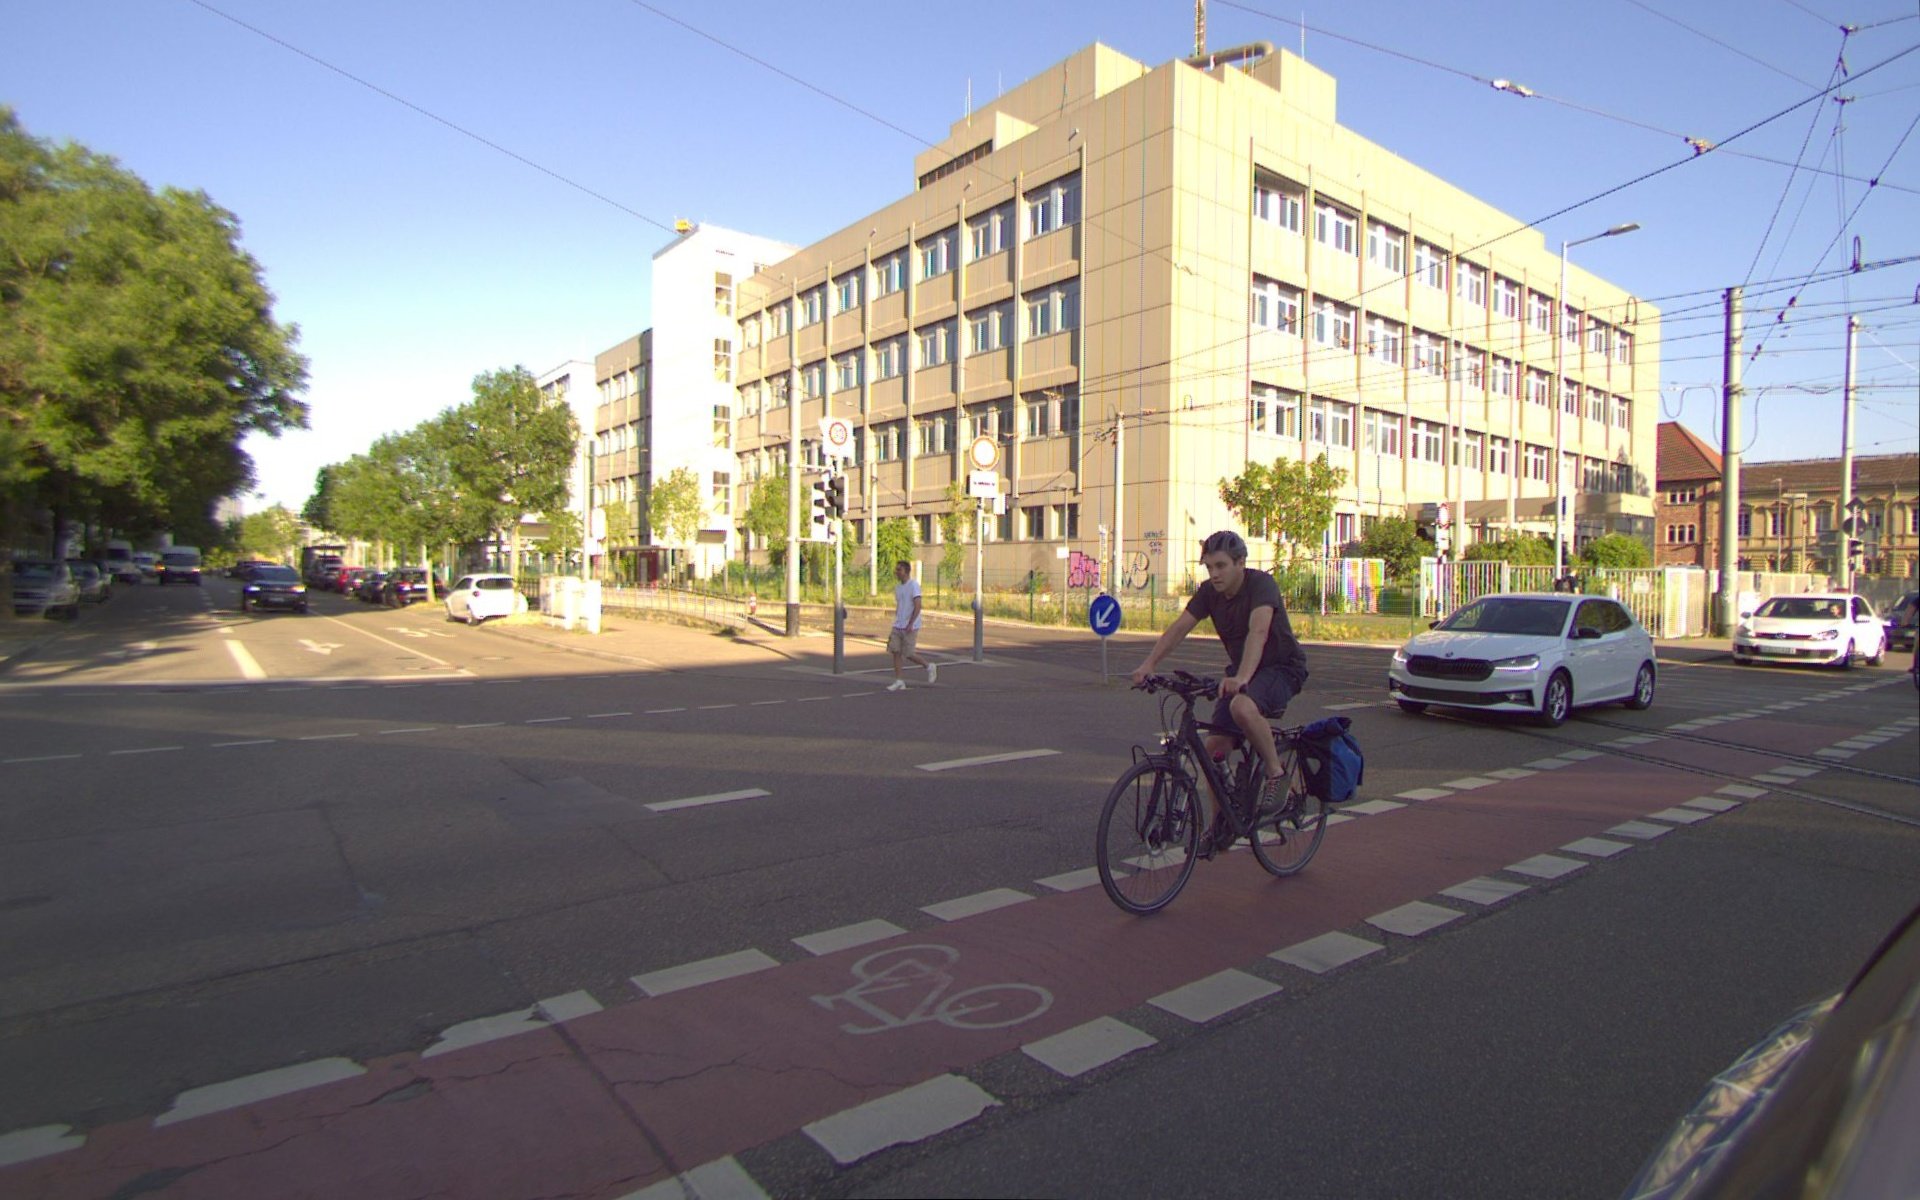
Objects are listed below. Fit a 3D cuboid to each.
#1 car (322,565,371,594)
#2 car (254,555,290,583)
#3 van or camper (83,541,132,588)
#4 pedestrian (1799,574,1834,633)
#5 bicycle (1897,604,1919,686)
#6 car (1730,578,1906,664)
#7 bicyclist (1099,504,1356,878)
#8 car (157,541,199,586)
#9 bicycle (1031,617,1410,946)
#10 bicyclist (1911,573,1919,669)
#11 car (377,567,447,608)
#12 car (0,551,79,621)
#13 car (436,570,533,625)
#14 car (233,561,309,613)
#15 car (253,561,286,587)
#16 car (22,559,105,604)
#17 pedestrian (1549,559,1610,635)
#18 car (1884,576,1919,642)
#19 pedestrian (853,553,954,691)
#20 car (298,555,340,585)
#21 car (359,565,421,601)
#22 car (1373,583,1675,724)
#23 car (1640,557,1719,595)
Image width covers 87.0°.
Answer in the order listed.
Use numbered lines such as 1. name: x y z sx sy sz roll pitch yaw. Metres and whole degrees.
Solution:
1. car: -35.554 -1.184 58.614 1.964 1.621 3.998 -1 2 -38
2. car: -50.562 -2.226 74.334 1.963 1.934 3.998 -1 0 -37
3. van or camper: -48.189 -2.010 57.249 1.951 2.535 4.399 0 2 -38
4. pedestrian: 26.437 0.092 31.243 0.755 1.784 0.593 0 1 -33
5. bicycle: 14.936 0.661 15.277 2.264 1.158 0.764 0 1 -37
6. car: 16.914 0.368 19.886 4.222 1.521 1.793 -1 -1 -38
7. bicyclist: 1.308 0.385 4.948 1.067 1.623 0.652 0 1 -33
8. car: -49.218 -2.251 63.687 2.018 2.707 5.014 -1 0 -38
9. bicycle: 1.320 0.758 4.951 1.928 1.297 0.652 0 1 -33
10. bicyclist: 14.970 0.315 15.301 0.843 1.440 0.728 -1 0 -37
11. car: -22.912 -0.566 42.239 1.964 1.621 3.998 -1 2 -38
12. car: -24.788 -0.406 26.840 1.951 1.716 3.997 0 2 -38
13. car: -15.183 -0.137 32.195 1.964 1.632 3.998 -1 2 -38
14. car: -24.561 -0.491 36.022 1.951 1.717 3.997 2 0 -38
15. car: -53.756 -1.973 78.764 1.963 1.934 3.998 -1 0 -37
16. car: -31.809 -0.685 36.008 1.951 1.513 4.399 0 2 -38
17. pedestrian: 15.365 -0.079 25.115 1.064 1.835 0.735 1 1 9
18. car: 26.111 0.209 26.731 4.222 1.664 1.793 -1 -1 -38
19. pedestrian: -0.792 0.280 14.269 1.194 1.846 0.779 0 1 -39
20. car: -42.708 -1.993 67.408 1.964 1.946 3.998 0 2 -38
21. car: -26.559 -0.822 47.133 1.964 1.621 3.998 -1 2 -38
22. car: 6.772 0.517 12.010 4.000 1.406 1.705 0 0 -38
23. car: 36.560 -1.200 51.374 4.698 1.865 1.999 0 2 -38
